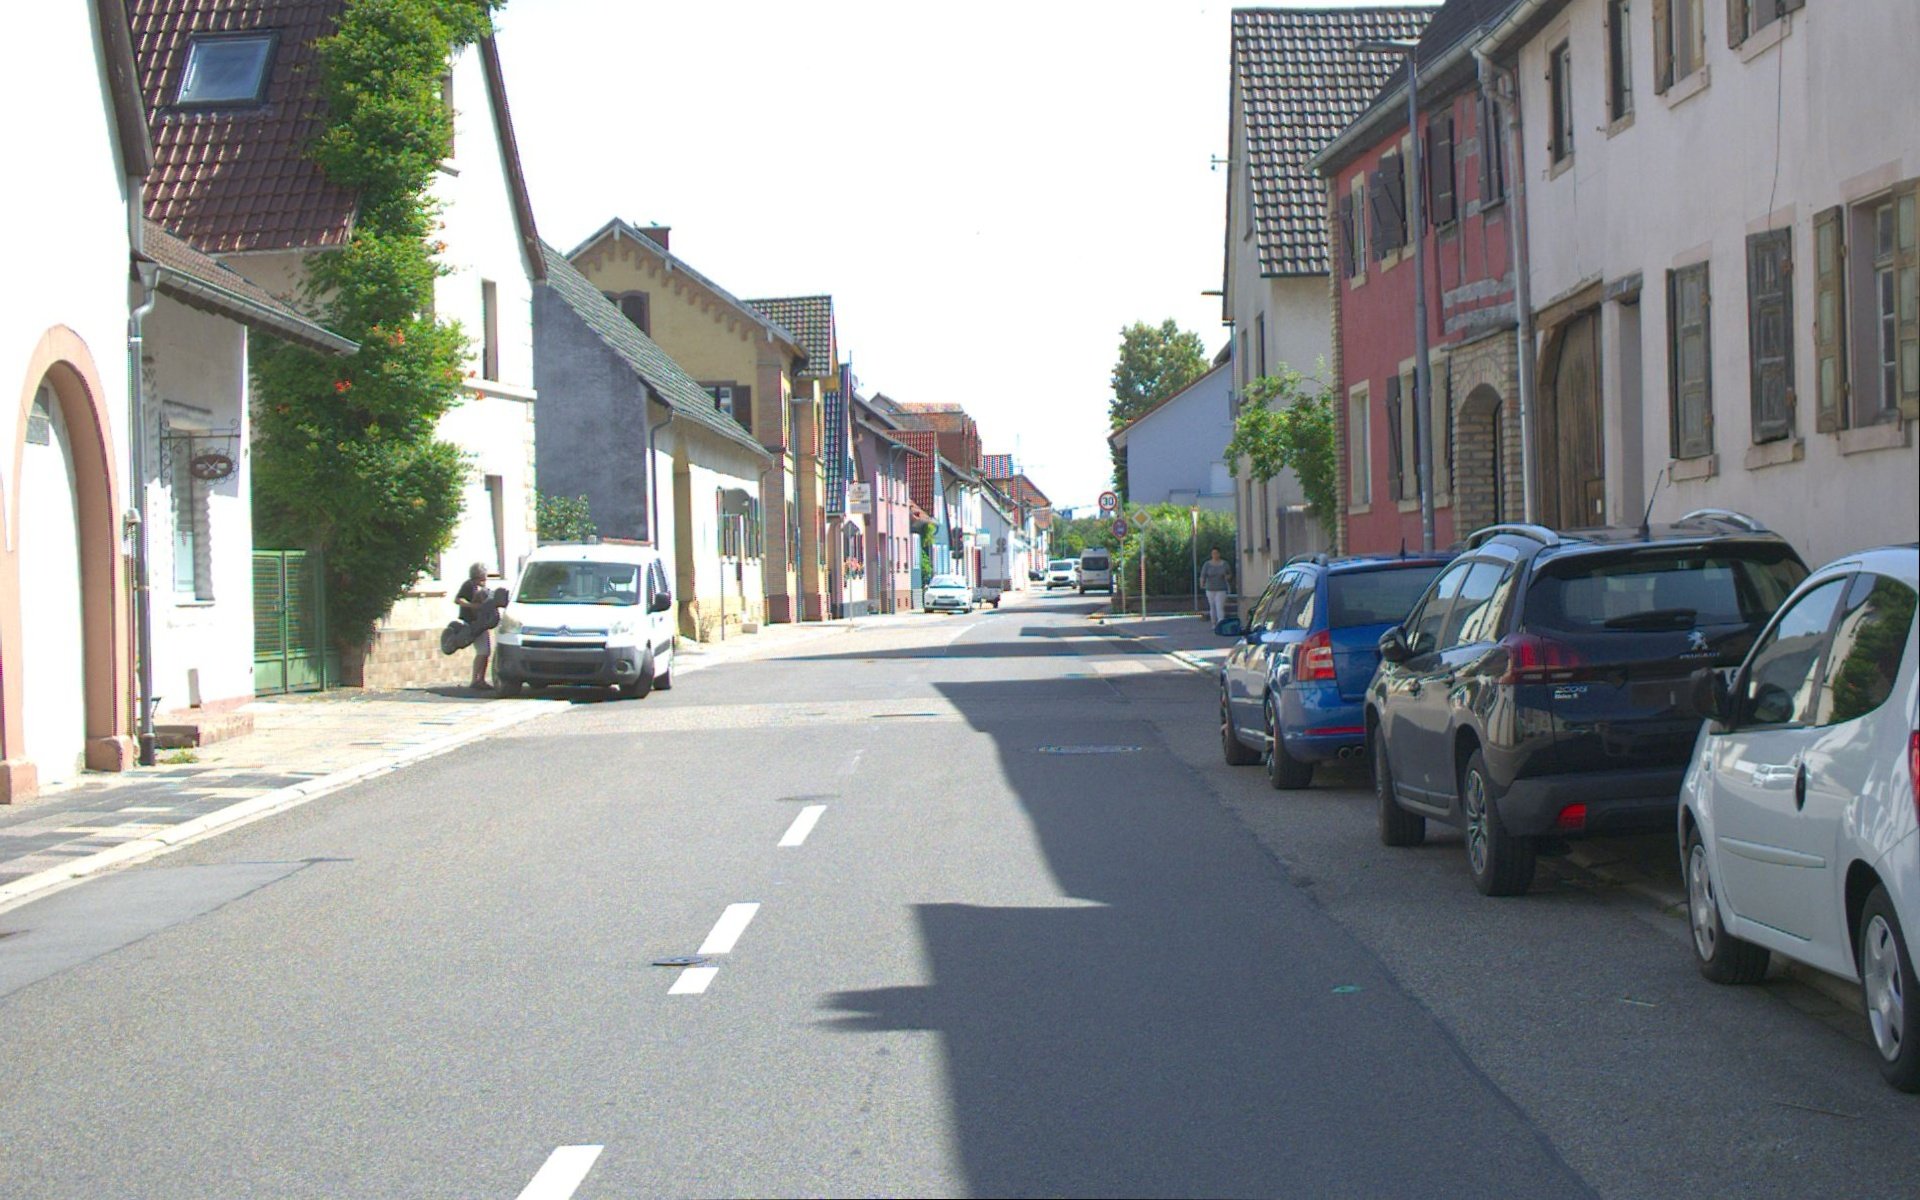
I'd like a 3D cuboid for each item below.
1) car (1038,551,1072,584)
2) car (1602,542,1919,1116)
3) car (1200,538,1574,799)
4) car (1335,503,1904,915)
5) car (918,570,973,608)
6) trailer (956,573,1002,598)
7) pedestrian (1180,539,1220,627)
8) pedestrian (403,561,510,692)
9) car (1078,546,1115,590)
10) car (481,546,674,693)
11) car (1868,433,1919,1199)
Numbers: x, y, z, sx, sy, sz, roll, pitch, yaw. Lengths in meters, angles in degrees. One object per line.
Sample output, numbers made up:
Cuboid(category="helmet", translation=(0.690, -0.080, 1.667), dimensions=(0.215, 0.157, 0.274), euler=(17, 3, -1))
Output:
Cuboid(category="car", translation=(6.481, -2.198, 234.311), dimensions=(2.158, 2.073, 4.000), euler=(-2, -1, 1))
Cuboid(category="car", translation=(3.121, 0.542, 10.571), dimensions=(1.551, 1.433, 3.721), euler=(-2, 1, 0))
Cuboid(category="car", translation=(2.674, 0.386, 22.477), dimensions=(1.698, 1.464, 4.410), euler=(-2, 1, -2))
Cuboid(category="car", translation=(2.869, 0.418, 15.808), dimensions=(1.699, 1.578, 4.027), euler=(-2, 1, -1))
Cuboid(category="car", translation=(-0.565, -0.436, 135.591), dimensions=(1.993, 1.437, 4.000), euler=(-2, 0, 2))
Cuboid(category="trailer", translation=(0.825, -0.649, 152.399), dimensions=(1.993, 1.086, 4.000), euler=(-1, 1, 0))
Cuboid(category="pedestrian", translation=(4.564, -0.323, 65.279), dimensions=(0.719, 1.658, 0.892), euler=(-1, 0, 5))
Cuboid(category="pedestrian", translation=(-6.053, 0.313, 41.387), dimensions=(1.136, 1.546, 1.017), euler=(-1, 0, -1))
Cuboid(category="car", translation=(8.035, -1.882, 202.731), dimensions=(2.017, 2.559, 4.000), euler=(-2, 0, 1))
Cuboid(category="car", translation=(-4.504, 0.195, 41.036), dimensions=(1.855, 1.641, 4.430), euler=(-1, 1, -1))
Cuboid(category="car", translation=(2.892, 0.529, 5.229), dimensions=(1.898, 1.722, 4.249), euler=(-1, 1, 0))
